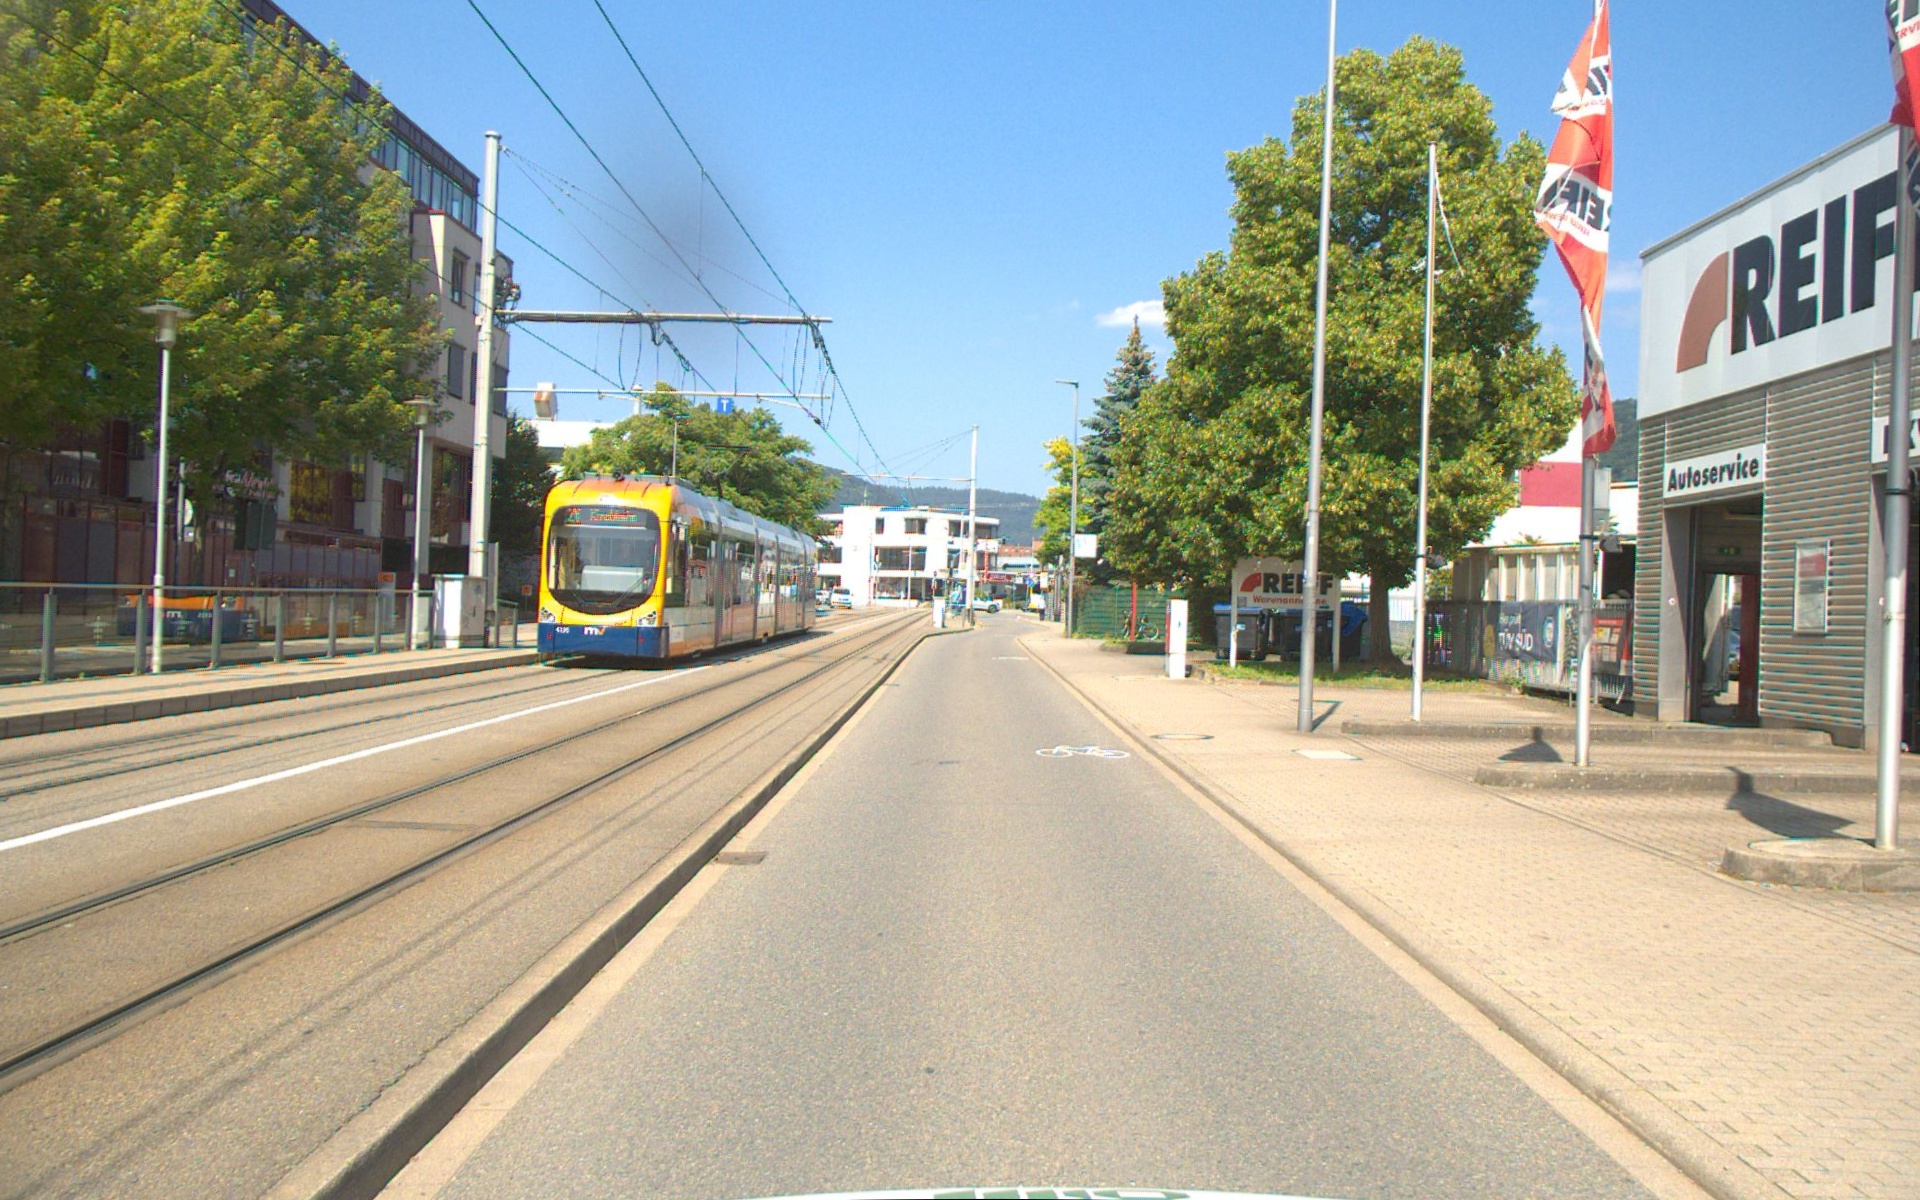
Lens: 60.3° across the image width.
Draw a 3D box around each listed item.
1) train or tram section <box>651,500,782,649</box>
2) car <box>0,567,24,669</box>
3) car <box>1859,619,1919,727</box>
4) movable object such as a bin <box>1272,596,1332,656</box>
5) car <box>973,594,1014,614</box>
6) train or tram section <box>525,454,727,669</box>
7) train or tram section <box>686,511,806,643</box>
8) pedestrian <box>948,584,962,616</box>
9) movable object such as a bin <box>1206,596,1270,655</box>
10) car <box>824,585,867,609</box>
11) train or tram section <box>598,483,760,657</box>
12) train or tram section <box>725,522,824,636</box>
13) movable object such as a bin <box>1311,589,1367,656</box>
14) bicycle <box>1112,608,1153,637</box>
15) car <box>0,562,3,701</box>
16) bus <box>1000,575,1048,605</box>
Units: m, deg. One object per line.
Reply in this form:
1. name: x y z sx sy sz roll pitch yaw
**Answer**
1. train or tram section: -6.107 -0.612 42.185 2.558 3.507 5.010 1 0 0
2. car: -15.461 0.246 23.676 1.724 1.545 4.000 2 0 1
3. car: 14.377 1.018 22.230 3.688 1.400 1.723 2 0 -5
4. movable object such as a bin: 8.729 0.663 42.185 1.290 1.455 0.884 1 -2 25
5. car: 3.195 0.400 157.551 3.905 1.780 1.776 2 0 0
6. train or tram section: -6.067 -0.655 30.947 2.558 3.594 5.742 1 0 0
7. train or tram section: -6.109 -0.621 48.259 2.527 3.507 7.136 1 0 0
8. pedestrian: -0.286 -0.007 94.481 0.728 1.771 0.727 1 0 0
9. movable object such as a bin: 7.194 0.670 42.775 1.357 1.455 0.990 1 -2 25
10. car: -10.374 -0.256 149.948 1.827 1.970 3.989 4 1 32
11. train or tram section: -6.097 -0.620 36.756 2.558 3.507 5.843 1 0 0
12. train or tram section: -6.075 -0.656 55.031 2.527 3.507 6.362 1 0 0
13. movable object such as a bin: 9.273 0.560 40.526 0.958 1.574 1.320 2 -2 -3
14. bicycle: 6.309 0.822 60.396 1.441 1.008 0.388 1 -3 -1
15. car: -11.953 0.381 17.173 1.687 1.612 4.070 -1 0 -1
16. bus: 6.466 -1.065 169.431 2.395 2.930 8.757 2 0 -15
